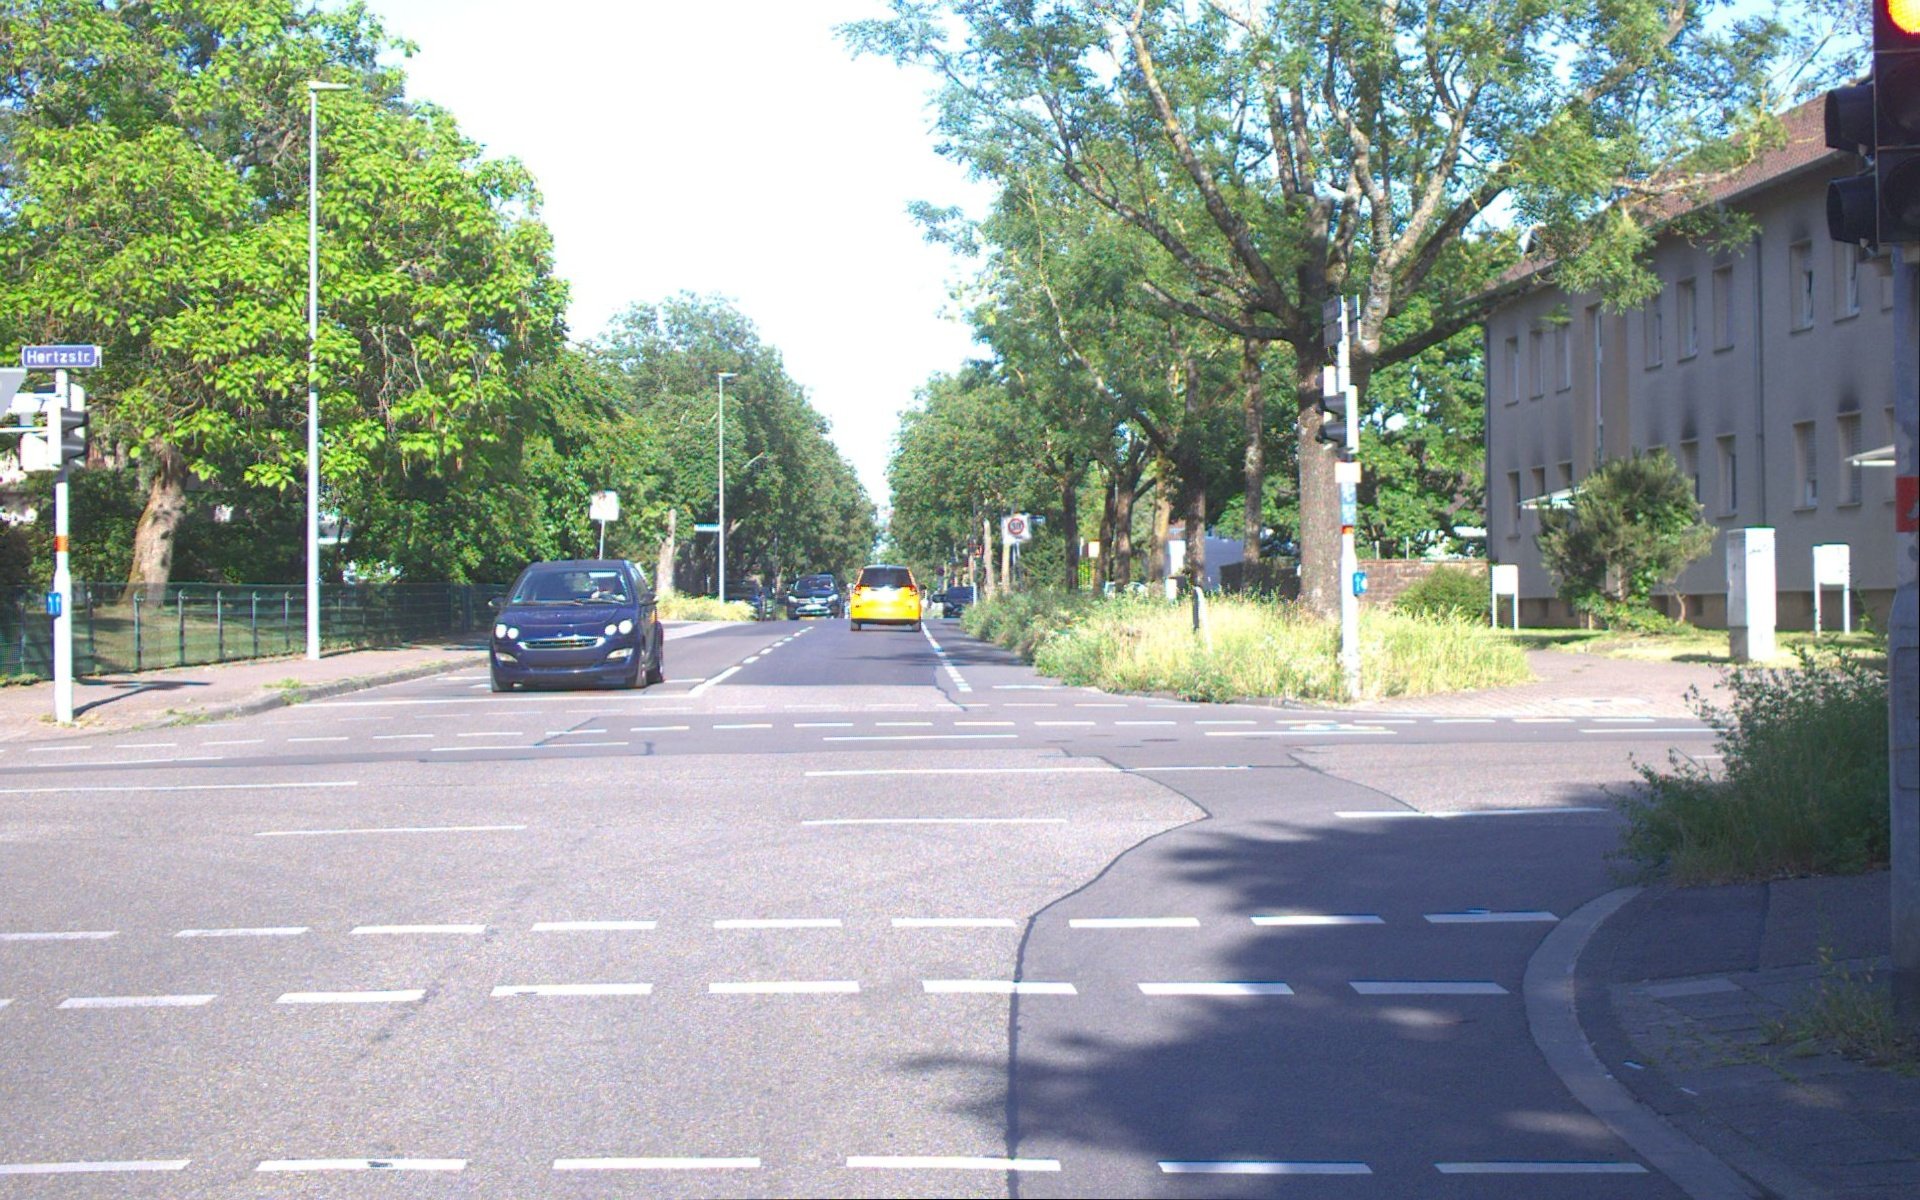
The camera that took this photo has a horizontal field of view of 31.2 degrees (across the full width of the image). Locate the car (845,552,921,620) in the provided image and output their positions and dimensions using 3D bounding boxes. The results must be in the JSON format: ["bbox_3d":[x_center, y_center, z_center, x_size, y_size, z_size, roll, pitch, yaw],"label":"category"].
[{"bbox_3d":[-1.834,-0.341,82.899,1.751,1.577,4.000,1,0,0],"label":"car"}]

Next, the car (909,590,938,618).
[{"bbox_3d":[-2.314,0.234,219.249,1.773,1.748,4.000,1,0,0],"label":"car"}]

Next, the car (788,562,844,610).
[{"bbox_3d":[-4.959,-0.497,118.890,1.758,1.619,3.268,0,1,0],"label":"car"}]

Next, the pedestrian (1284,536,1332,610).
[{"bbox_3d":[7.182,-0.557,70.952,0.842,1.488,0.924,2,1,-1],"label":"pedestrian"}]

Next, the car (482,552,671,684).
[{"bbox_3d":[-4.261,0.171,38.624,1.711,1.381,3.471,0,1,0],"label":"car"}]
